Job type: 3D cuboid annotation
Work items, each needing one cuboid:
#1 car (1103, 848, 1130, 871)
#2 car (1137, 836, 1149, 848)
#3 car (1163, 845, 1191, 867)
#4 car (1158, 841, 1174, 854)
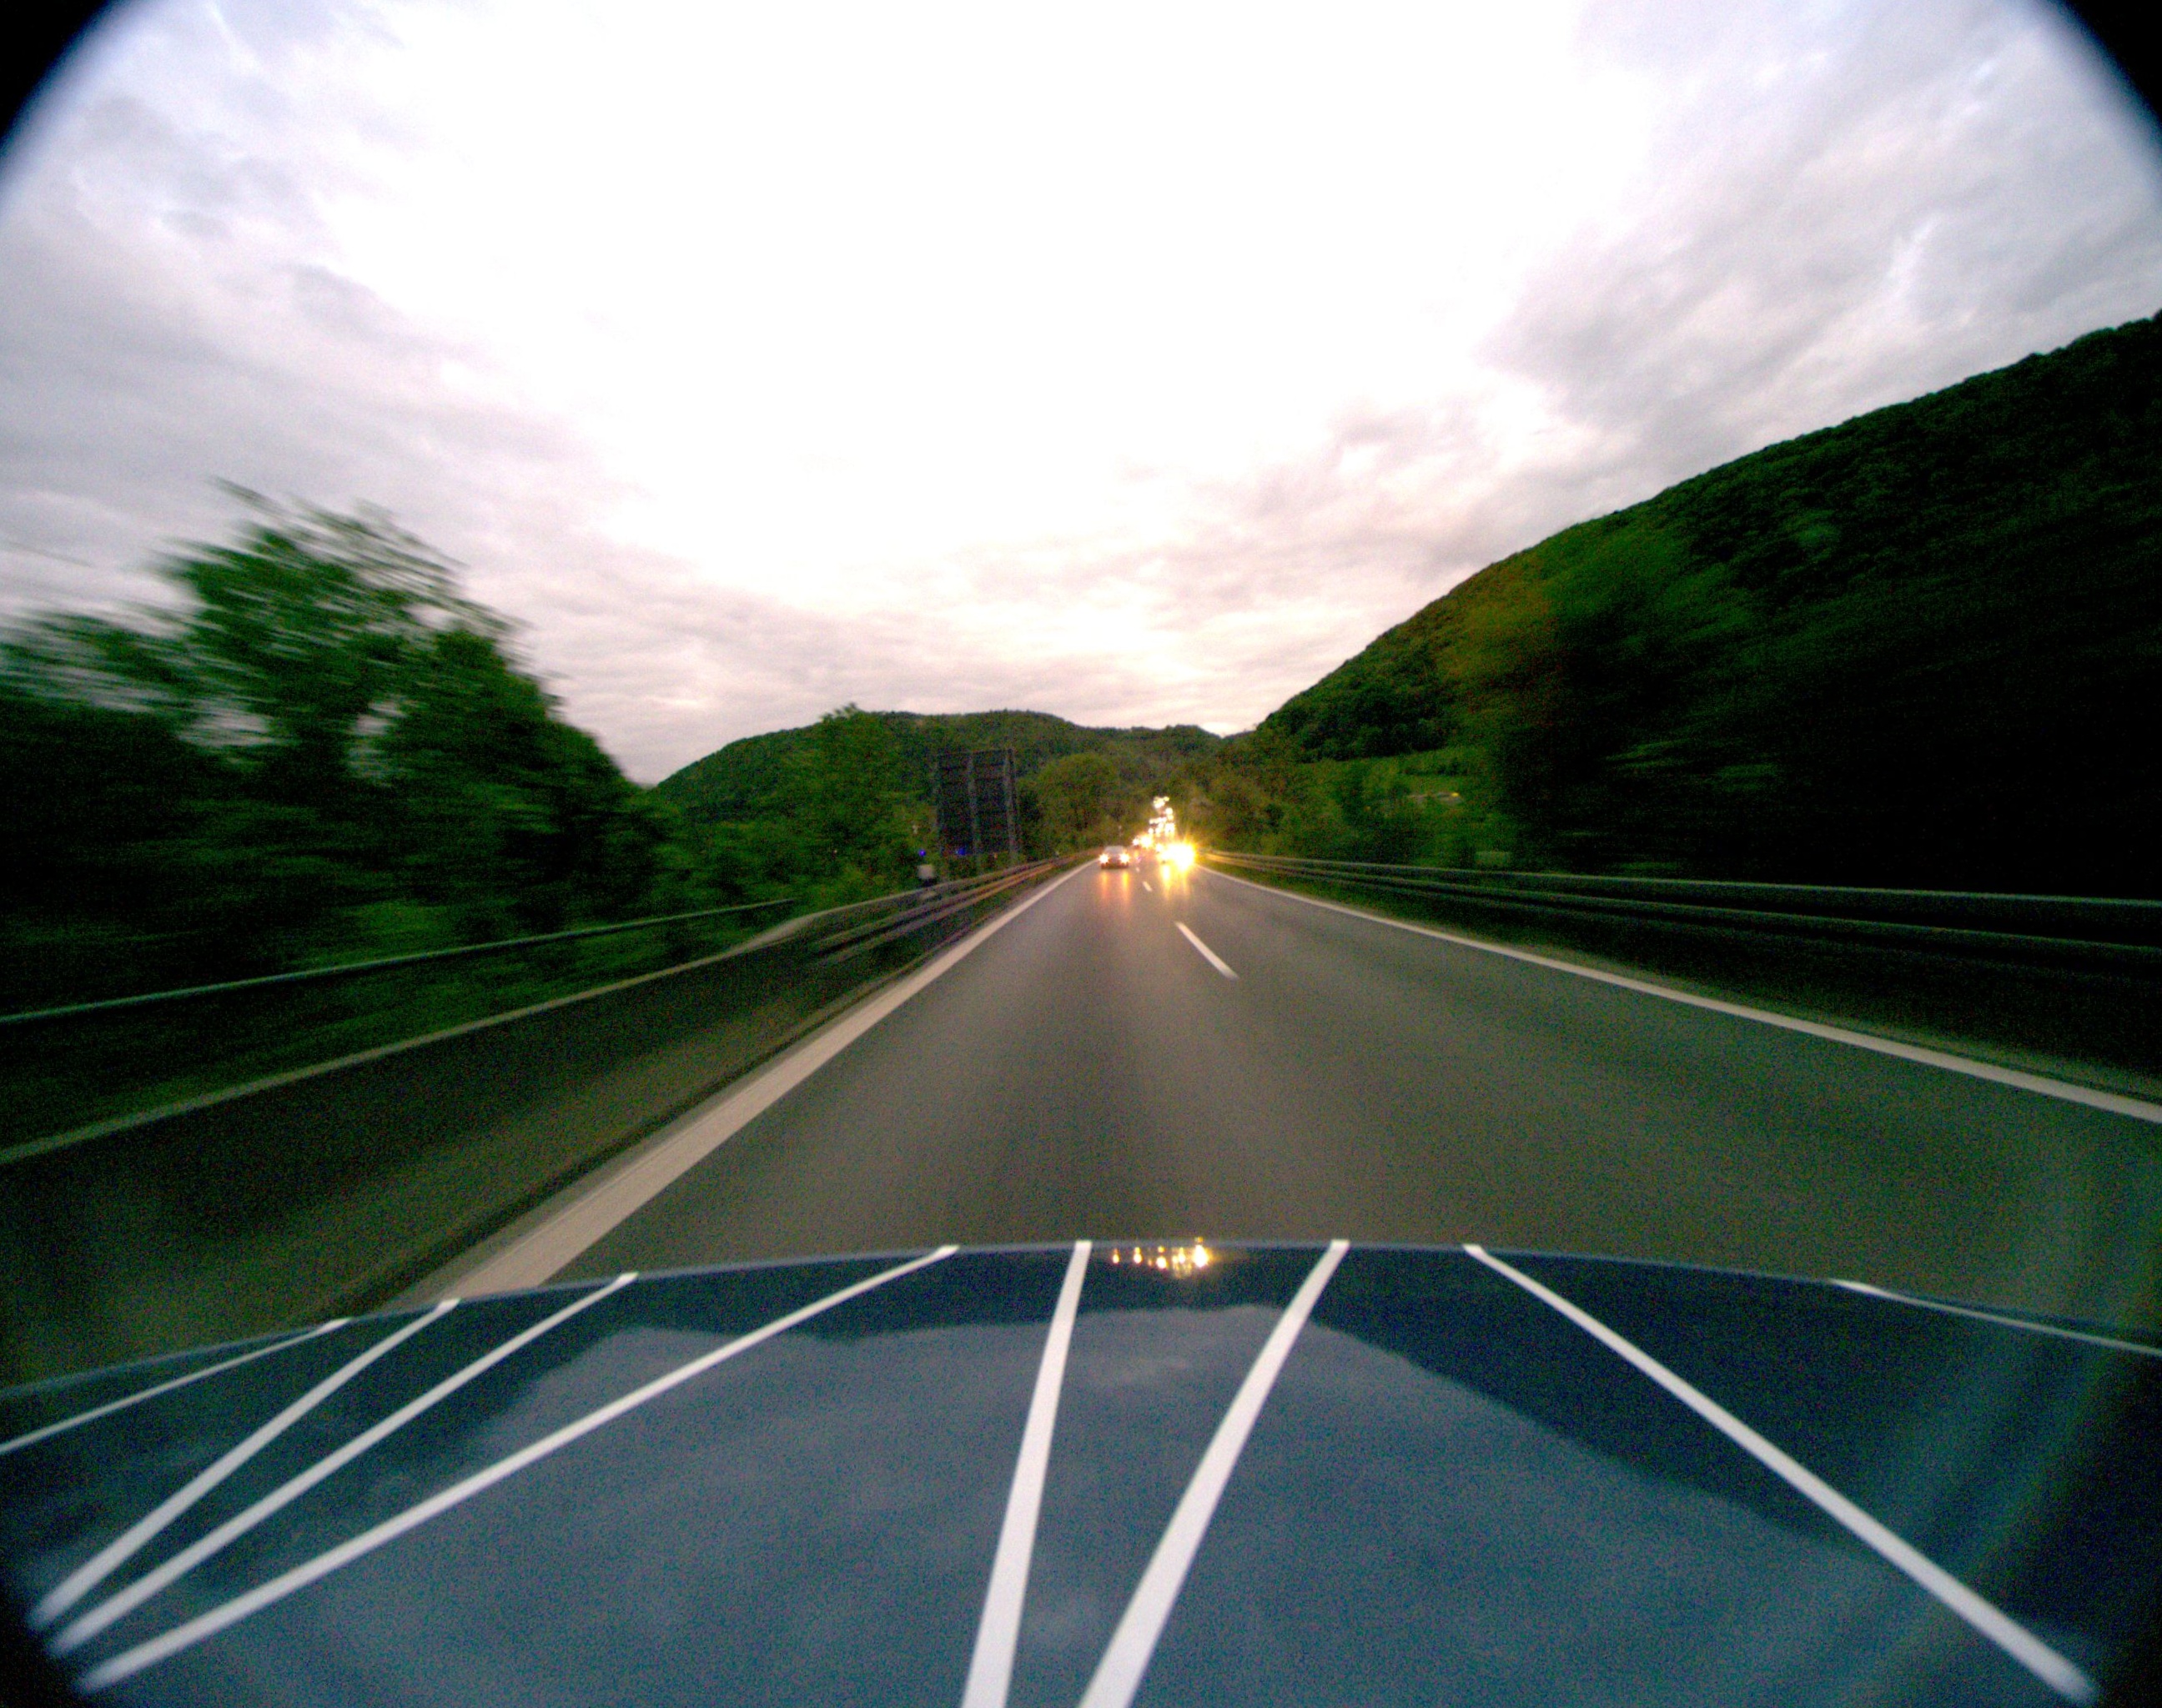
[{"bbox_3d":[2.408,0.356,51.332,1.690,1.443,3.669,-3,0,3],"label":"car"},{"bbox_3d":[9.155,-1.729,112.265,1.737,1.641,3.669,-3,0,4],"label":"car"},{"bbox_3d":[7.196,0.144,57.233,1.690,1.459,3.768,-3,0,2],"label":"car"},{"bbox_3d":[9.894,-0.710,88.413,1.690,1.425,3.669,-3,0,4],"label":"car"}]
